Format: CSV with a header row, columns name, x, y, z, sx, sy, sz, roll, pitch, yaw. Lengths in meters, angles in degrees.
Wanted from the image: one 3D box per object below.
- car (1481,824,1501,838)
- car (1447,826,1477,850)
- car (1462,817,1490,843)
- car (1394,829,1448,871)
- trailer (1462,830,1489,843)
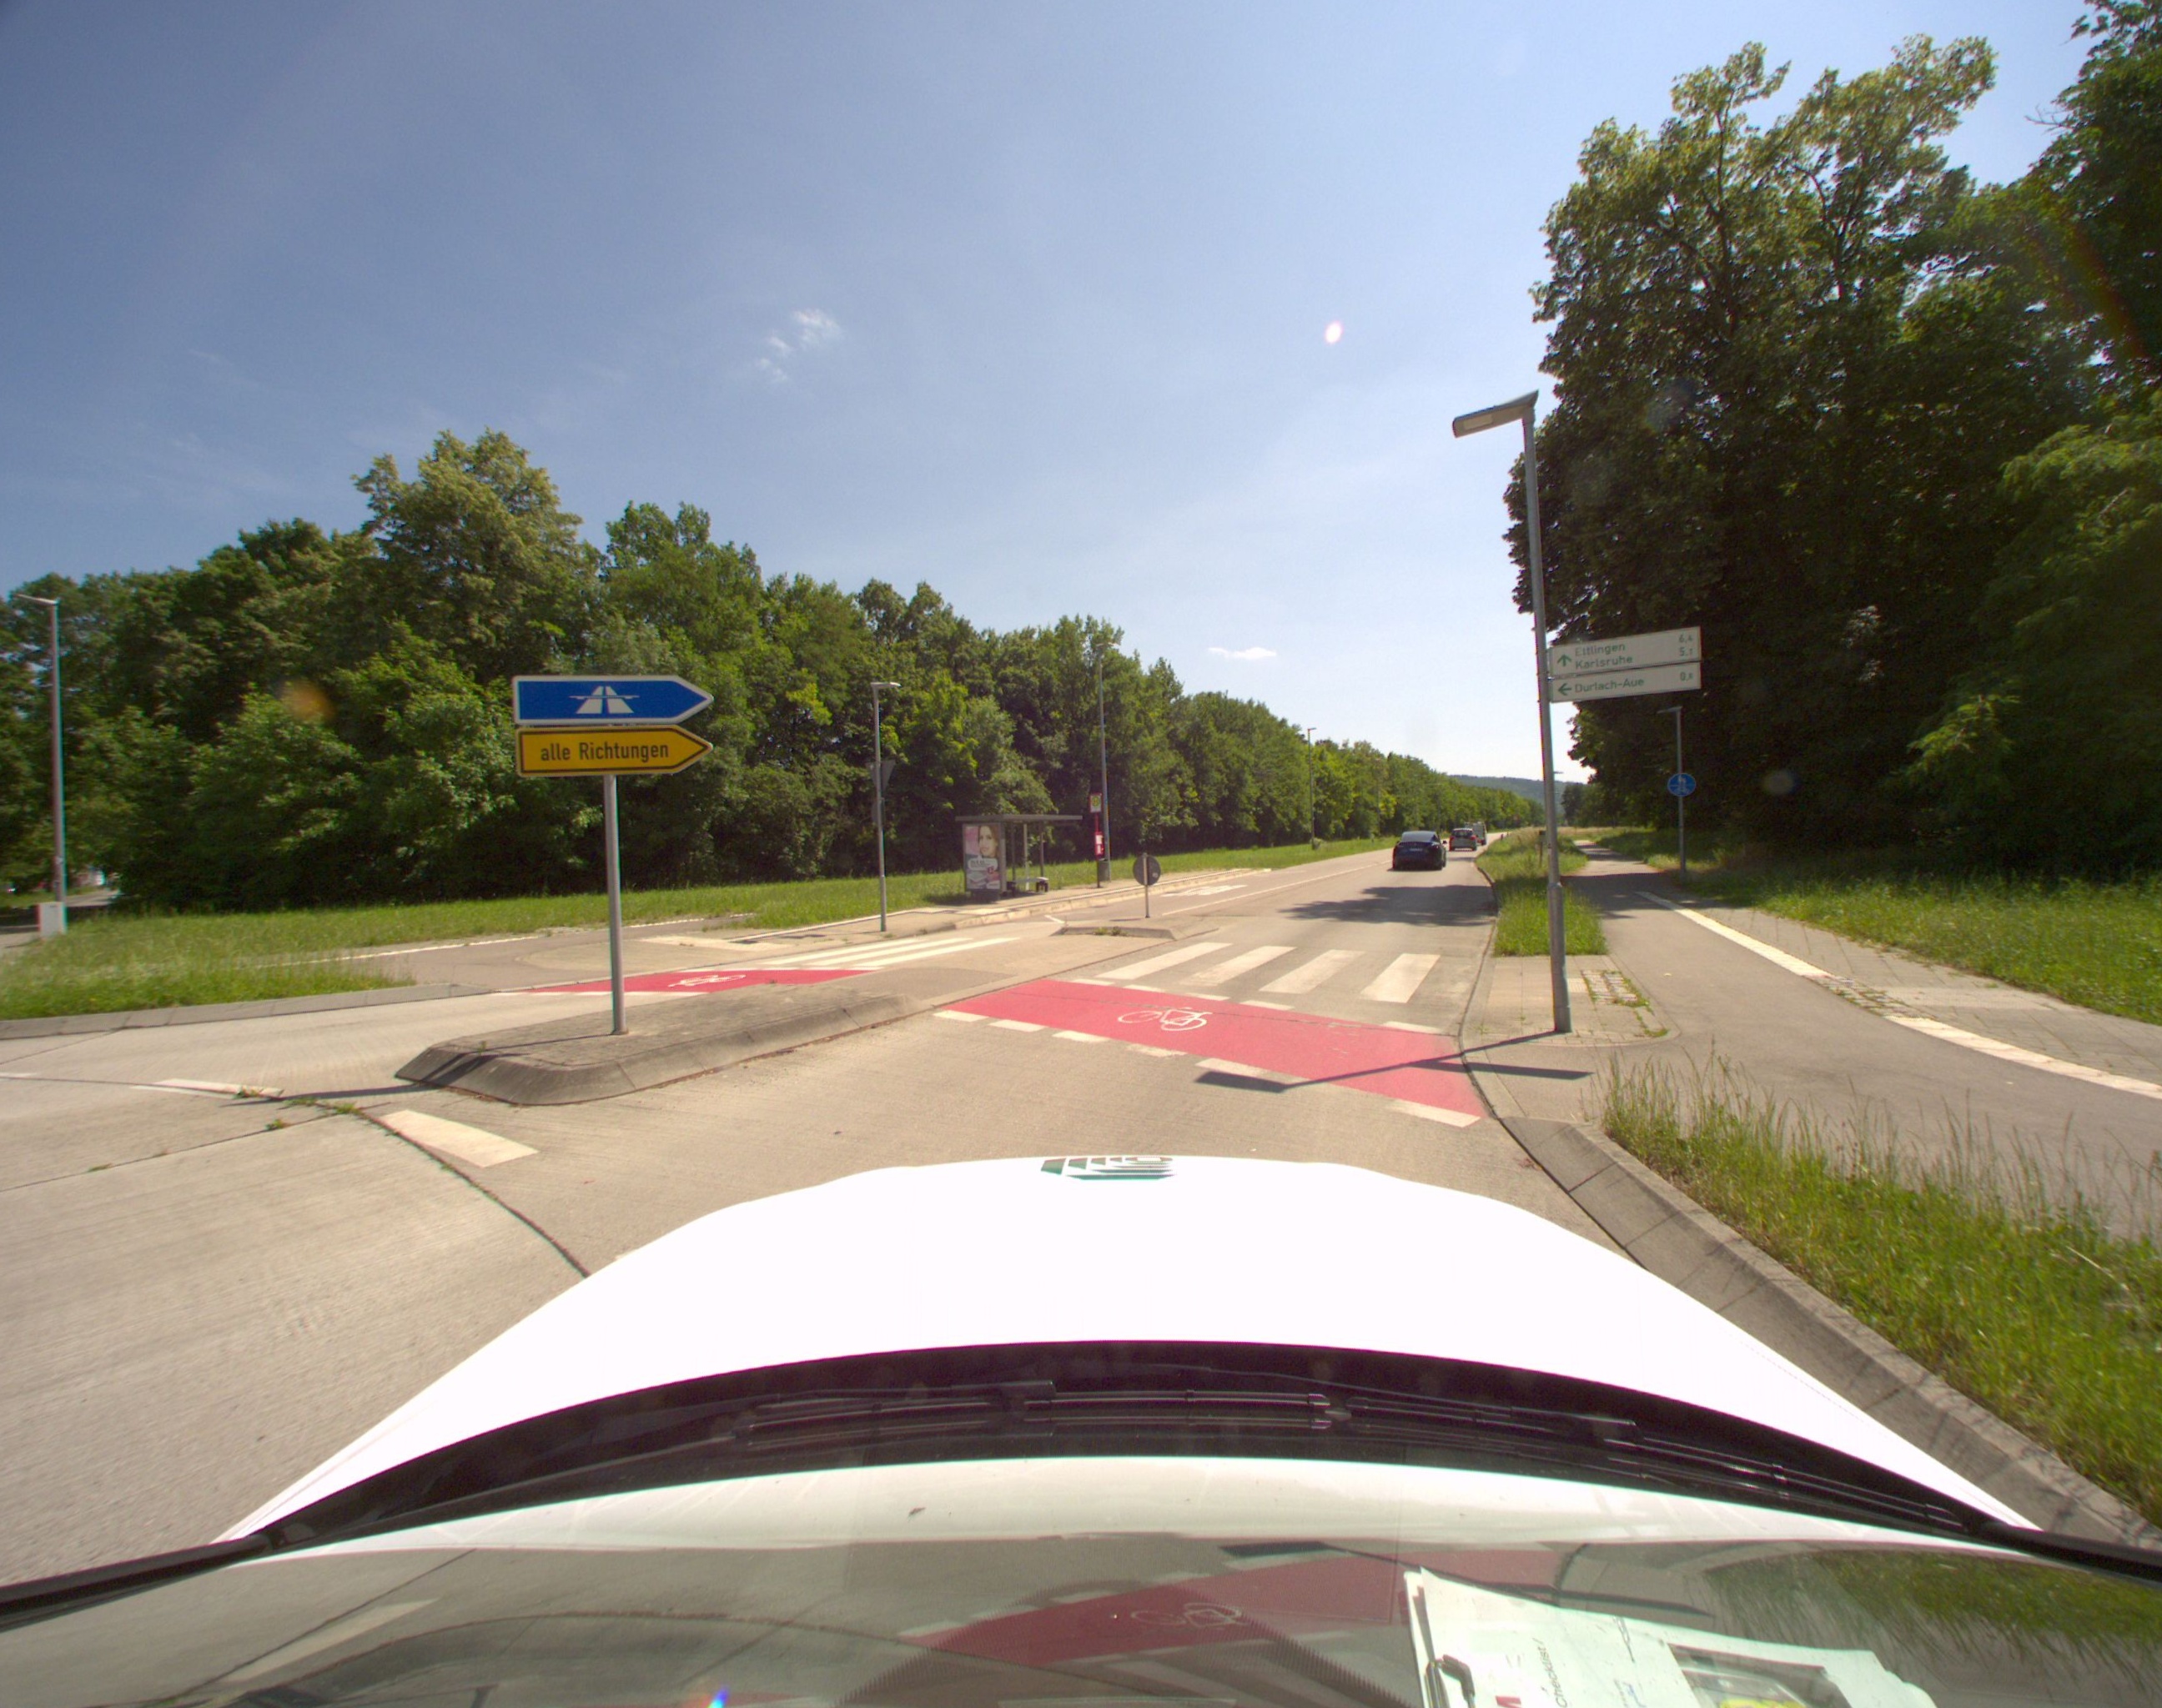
name,x,y,z,sx,sy,sz,roll,pitch,yaw
car,49.893,-2.797,99.036,1.842,1.596,4.026,0,1,32
car,27.284,-1.144,58.250,1.768,1.606,4.152,0,1,27
car,36.671,-2.226,75.493,2.146,2.316,5.012,0,1,28
car,14.683,-0.214,35.018,1.975,1.639,4.785,-1,1,24
trailer,34.796,-1.530,71.776,2.102,1.097,3.375,0,1,27
